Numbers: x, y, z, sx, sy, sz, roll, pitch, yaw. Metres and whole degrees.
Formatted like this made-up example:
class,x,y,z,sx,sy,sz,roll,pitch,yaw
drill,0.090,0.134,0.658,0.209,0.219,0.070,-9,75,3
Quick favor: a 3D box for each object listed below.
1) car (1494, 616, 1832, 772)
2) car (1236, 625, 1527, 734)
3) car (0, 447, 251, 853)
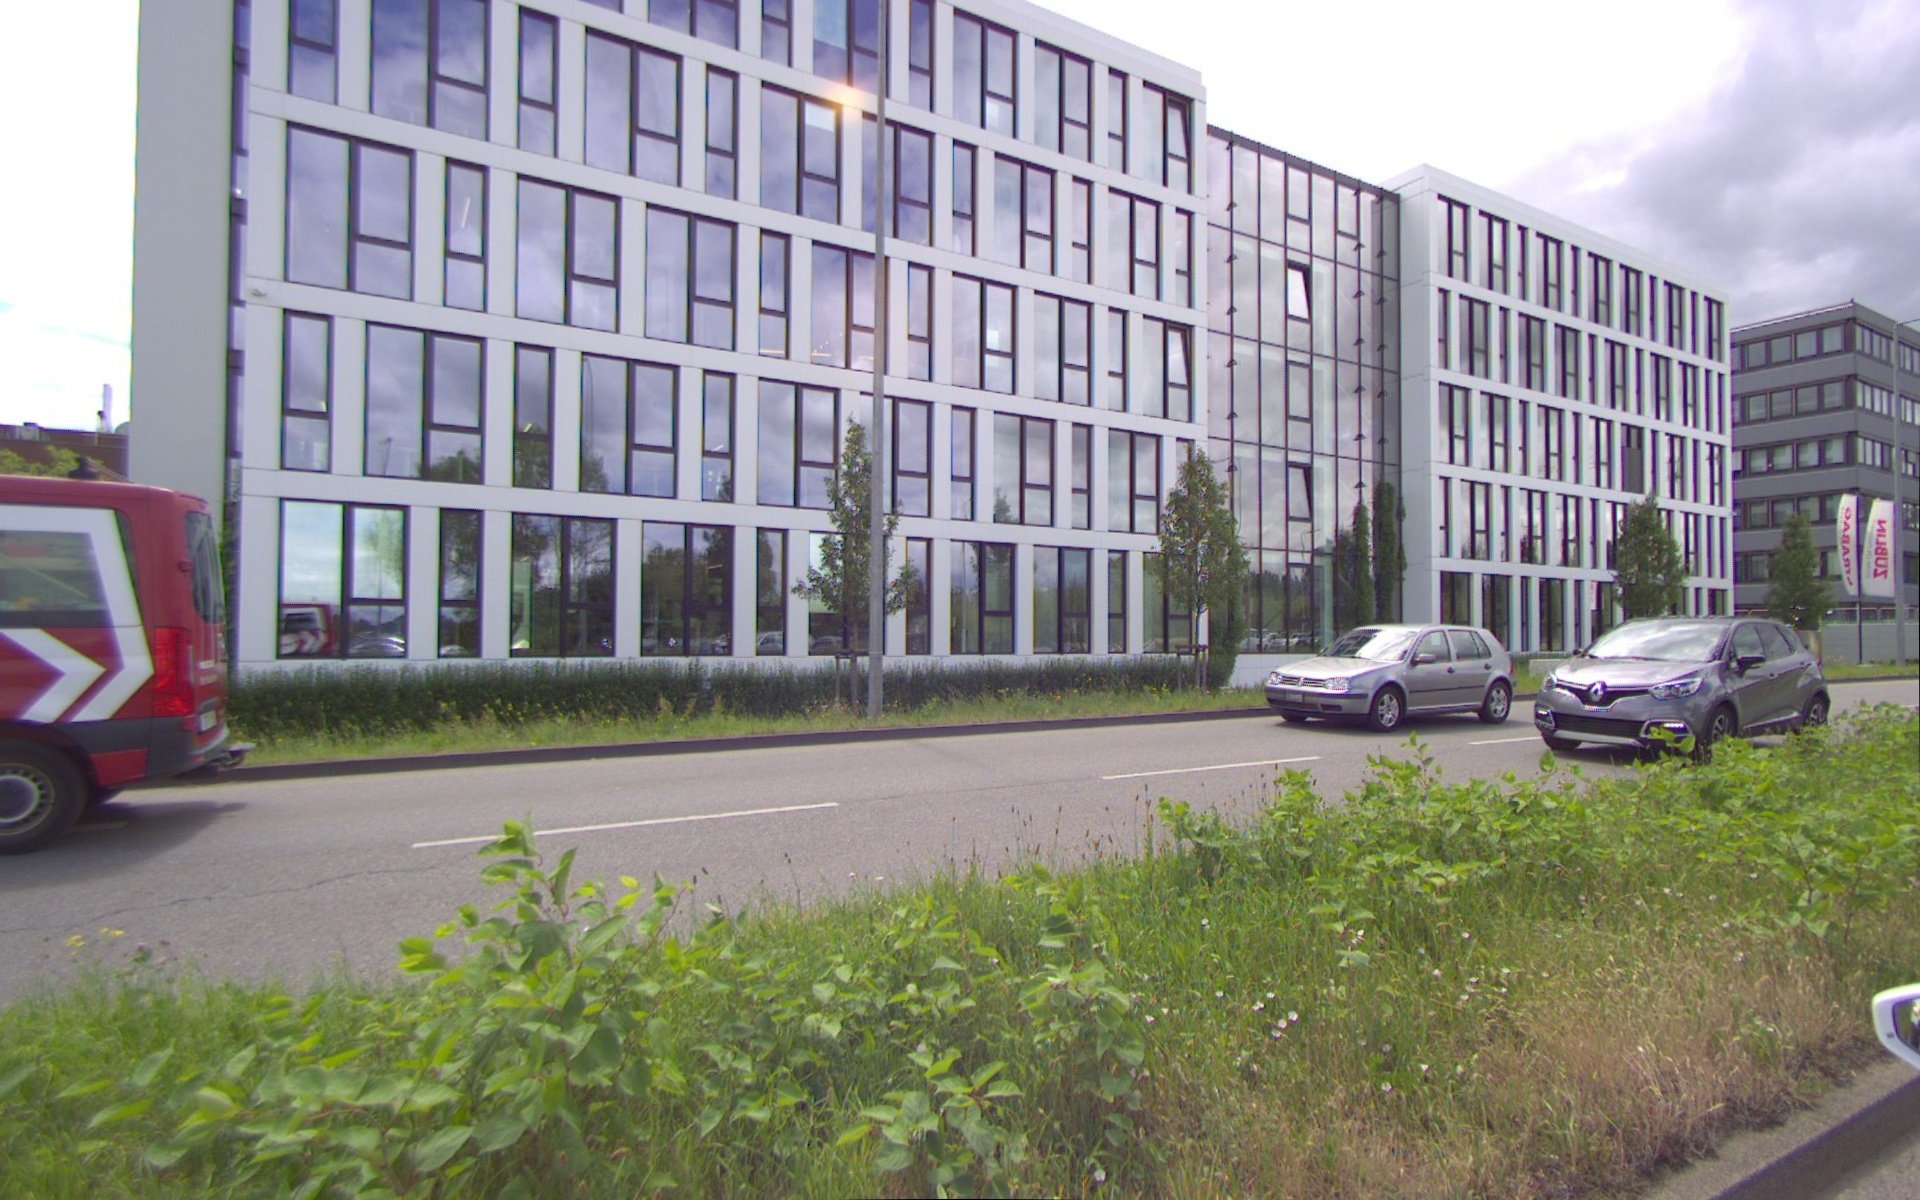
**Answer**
class,x,y,z,sx,sy,sz,roll,pitch,yaw
car,8.302,0.964,11.799,3.957,1.537,1.924,1,-1,-33
car,6.184,1.065,14.678,3.953,1.372,1.984,1,-1,-30
car,-7.617,0.288,6.106,5.180,2.444,1.984,1,-2,-31
